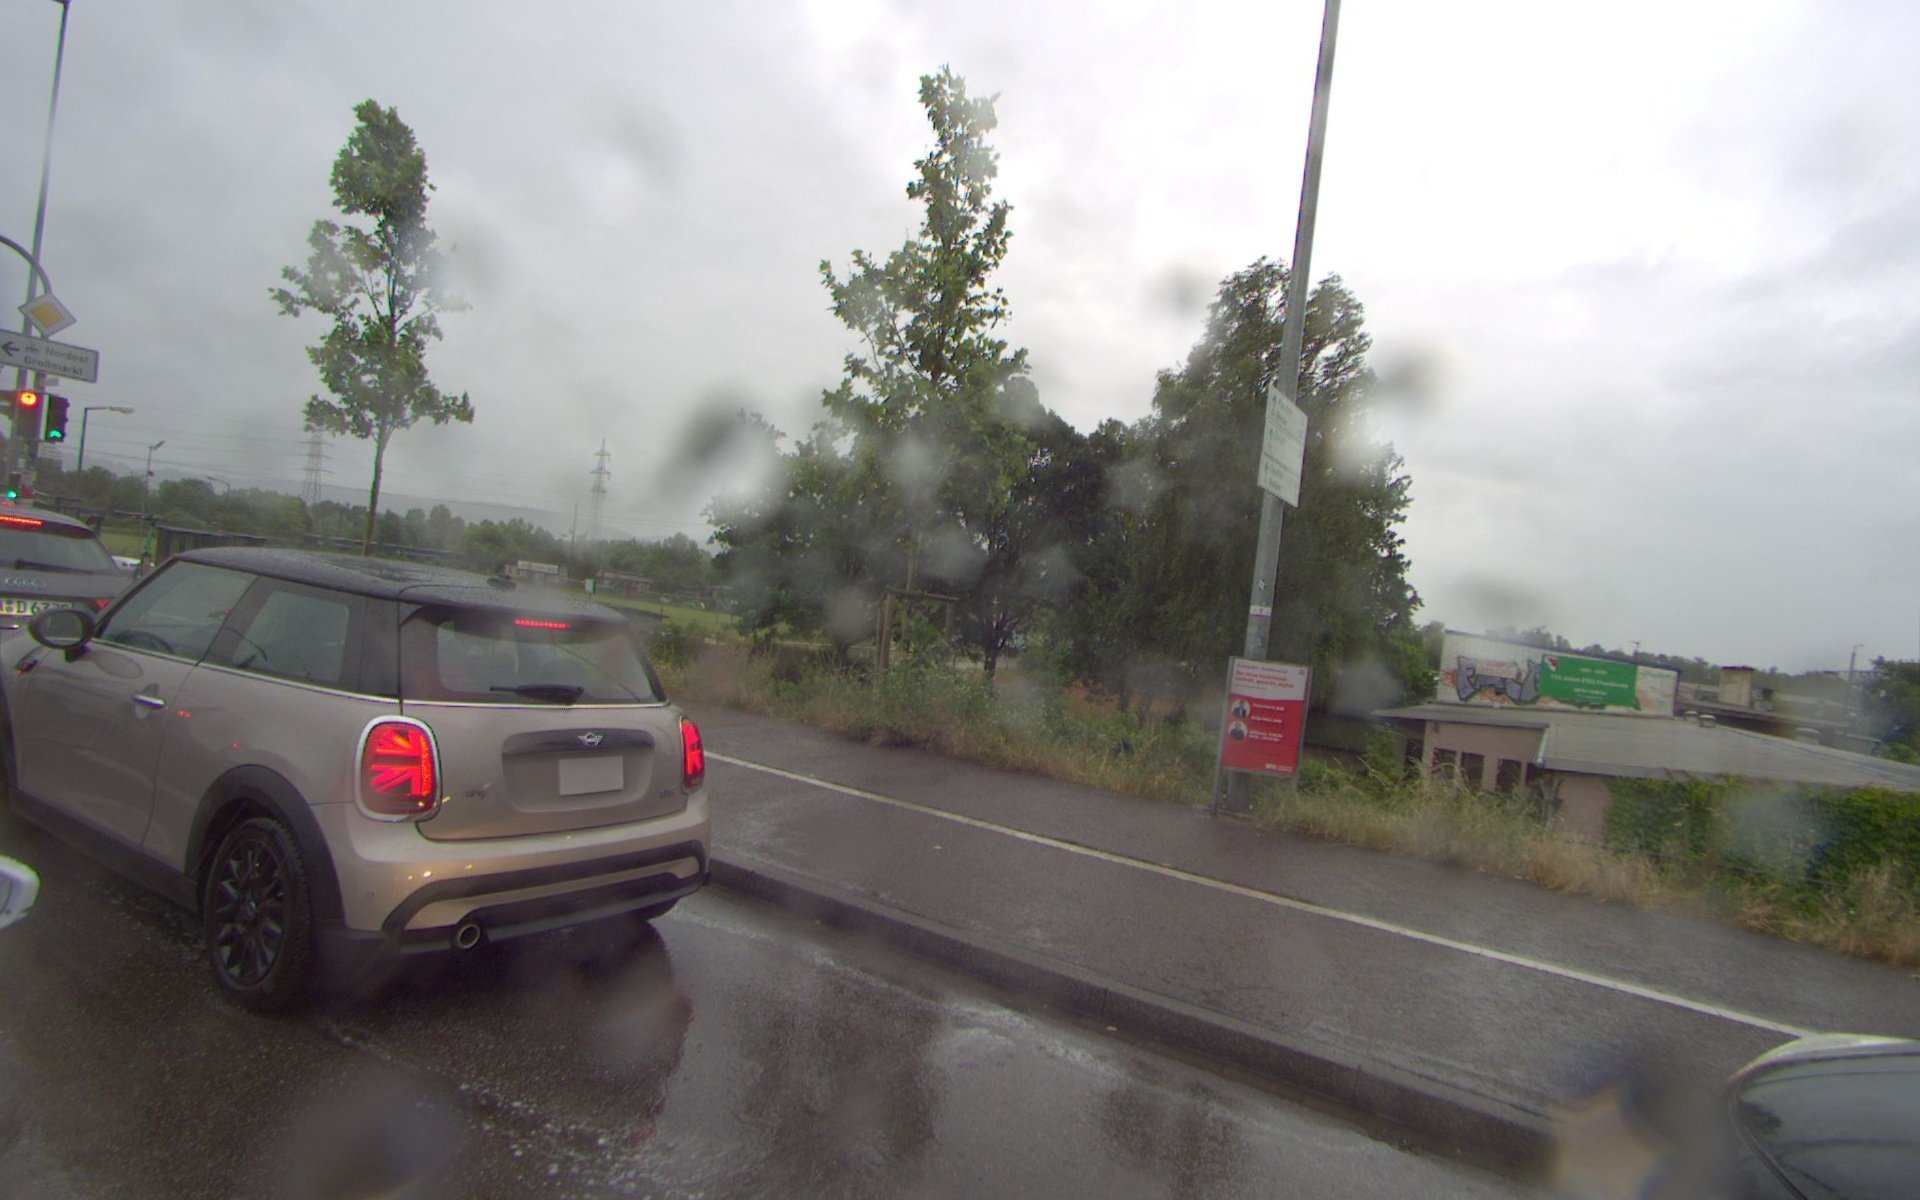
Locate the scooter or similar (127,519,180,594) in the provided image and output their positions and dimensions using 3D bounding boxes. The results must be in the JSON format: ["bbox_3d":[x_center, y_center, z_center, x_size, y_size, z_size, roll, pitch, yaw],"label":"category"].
[{"bbox_3d":[-13.681,-0.747,17.059,1.167,1.171,0.246,6,-1,33],"label":"scooter or similar"}]

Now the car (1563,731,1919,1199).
[{"bbox_3d":[2.779,1.175,1.040,3.563,1.445,1.632,7,-1,31],"label":"car"}]

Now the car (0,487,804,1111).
[{"bbox_3d":[-2.679,0.488,4.295,3.563,1.525,1.717,7,-2,31],"label":"car"}]

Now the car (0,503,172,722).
[{"bbox_3d":[-7.491,-0.083,7.197,3.563,1.360,1.632,6,-2,31],"label":"car"}]
